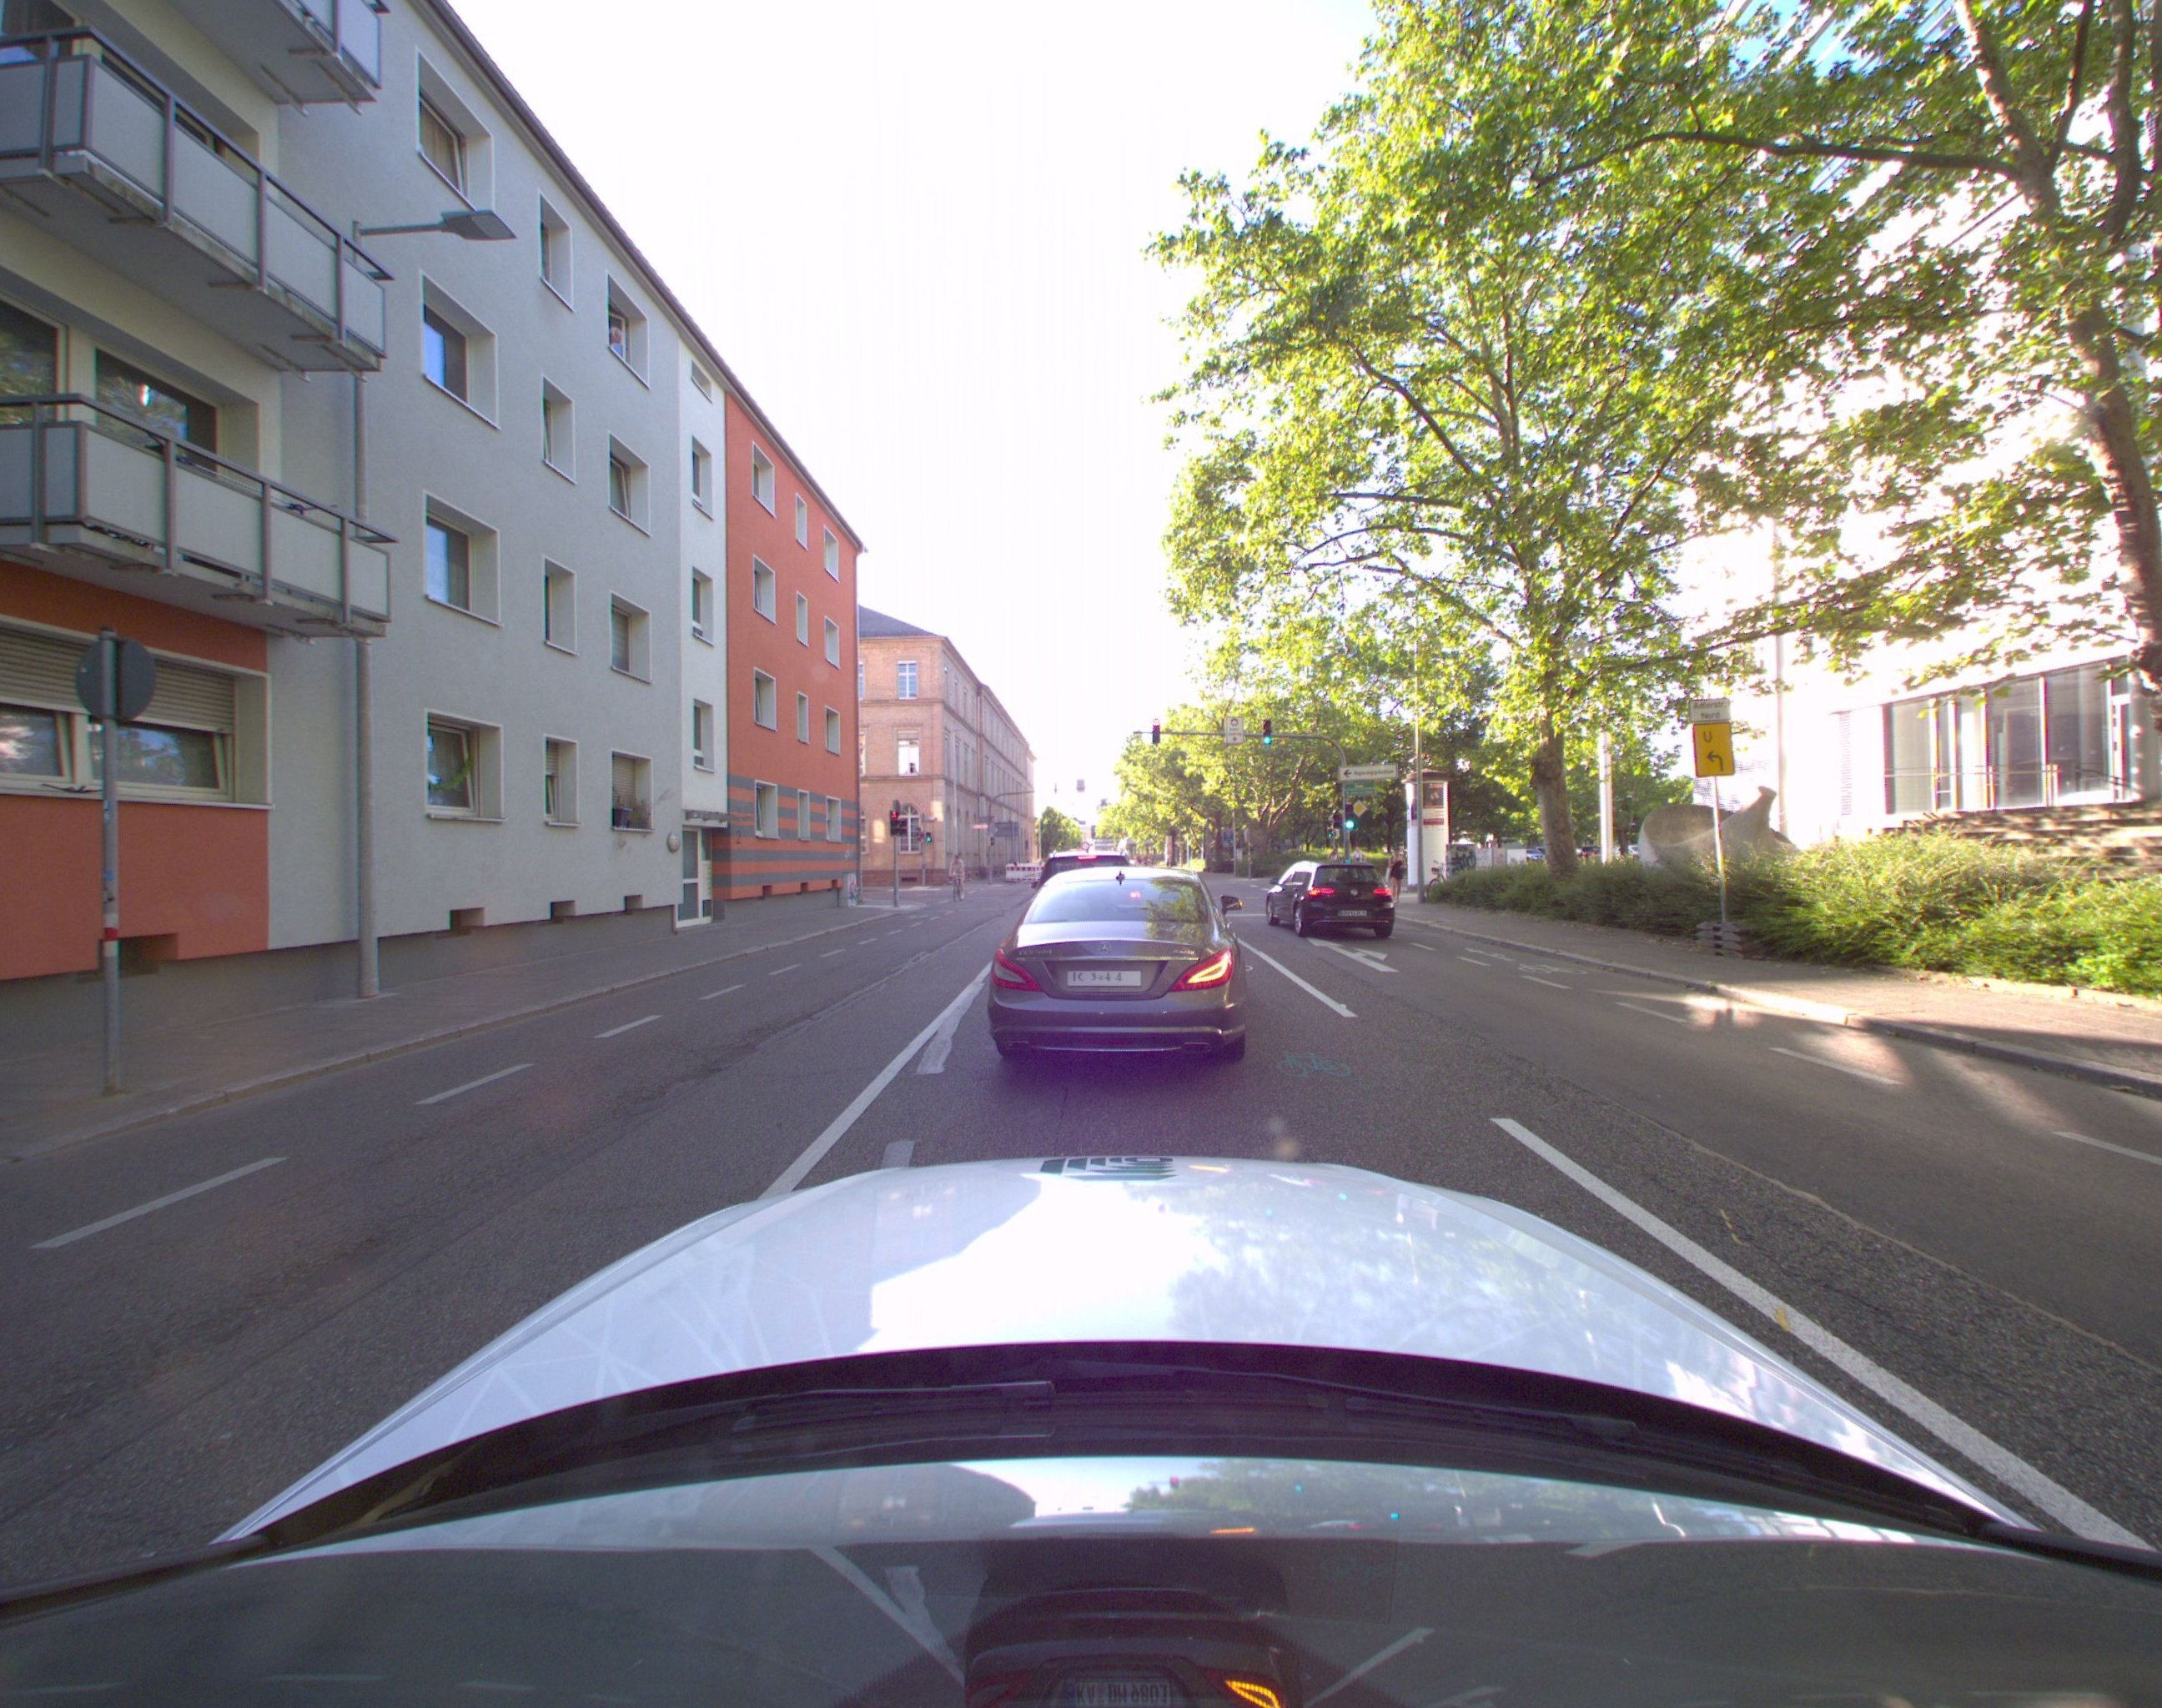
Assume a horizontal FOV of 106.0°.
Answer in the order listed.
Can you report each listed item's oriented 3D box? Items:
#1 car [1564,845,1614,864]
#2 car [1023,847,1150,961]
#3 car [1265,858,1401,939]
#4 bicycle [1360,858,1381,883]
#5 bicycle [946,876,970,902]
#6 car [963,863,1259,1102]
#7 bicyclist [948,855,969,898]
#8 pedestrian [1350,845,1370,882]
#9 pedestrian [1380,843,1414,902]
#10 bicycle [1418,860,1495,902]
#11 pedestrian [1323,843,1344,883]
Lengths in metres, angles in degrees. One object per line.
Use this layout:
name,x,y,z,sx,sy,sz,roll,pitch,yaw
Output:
car,39.741,0.053,63.800,1.624,1.483,3.796,0,-1,1
car,0.201,0.741,13.837,1.801,1.612,4.003,-1,-1,3
car,4.934,0.812,16.479,1.683,1.440,3.903,0,0,2
bicycle,13.448,0.756,37.876,0.521,1.100,1.744,0,-1,7
bicycle,-4.482,1.270,29.768,0.546,0.891,1.868,0,-1,2
car,0.467,0.808,7.287,1.833,1.429,4.527,0,-1,8
bicyclist,-4.492,0.818,29.858,0.646,1.558,0.807,0,-1,1
pedestrian,13.007,0.442,37.991,0.680,1.697,0.972,0,-1,6
pedestrian,9.036,0.528,23.286,0.791,1.630,0.912,-3,-2,19
bicycle,10.801,0.771,23.478,1.969,1.190,0.528,0,-1,0
pedestrian,11.795,0.424,38.009,0.728,1.808,0.911,-2,-2,8
